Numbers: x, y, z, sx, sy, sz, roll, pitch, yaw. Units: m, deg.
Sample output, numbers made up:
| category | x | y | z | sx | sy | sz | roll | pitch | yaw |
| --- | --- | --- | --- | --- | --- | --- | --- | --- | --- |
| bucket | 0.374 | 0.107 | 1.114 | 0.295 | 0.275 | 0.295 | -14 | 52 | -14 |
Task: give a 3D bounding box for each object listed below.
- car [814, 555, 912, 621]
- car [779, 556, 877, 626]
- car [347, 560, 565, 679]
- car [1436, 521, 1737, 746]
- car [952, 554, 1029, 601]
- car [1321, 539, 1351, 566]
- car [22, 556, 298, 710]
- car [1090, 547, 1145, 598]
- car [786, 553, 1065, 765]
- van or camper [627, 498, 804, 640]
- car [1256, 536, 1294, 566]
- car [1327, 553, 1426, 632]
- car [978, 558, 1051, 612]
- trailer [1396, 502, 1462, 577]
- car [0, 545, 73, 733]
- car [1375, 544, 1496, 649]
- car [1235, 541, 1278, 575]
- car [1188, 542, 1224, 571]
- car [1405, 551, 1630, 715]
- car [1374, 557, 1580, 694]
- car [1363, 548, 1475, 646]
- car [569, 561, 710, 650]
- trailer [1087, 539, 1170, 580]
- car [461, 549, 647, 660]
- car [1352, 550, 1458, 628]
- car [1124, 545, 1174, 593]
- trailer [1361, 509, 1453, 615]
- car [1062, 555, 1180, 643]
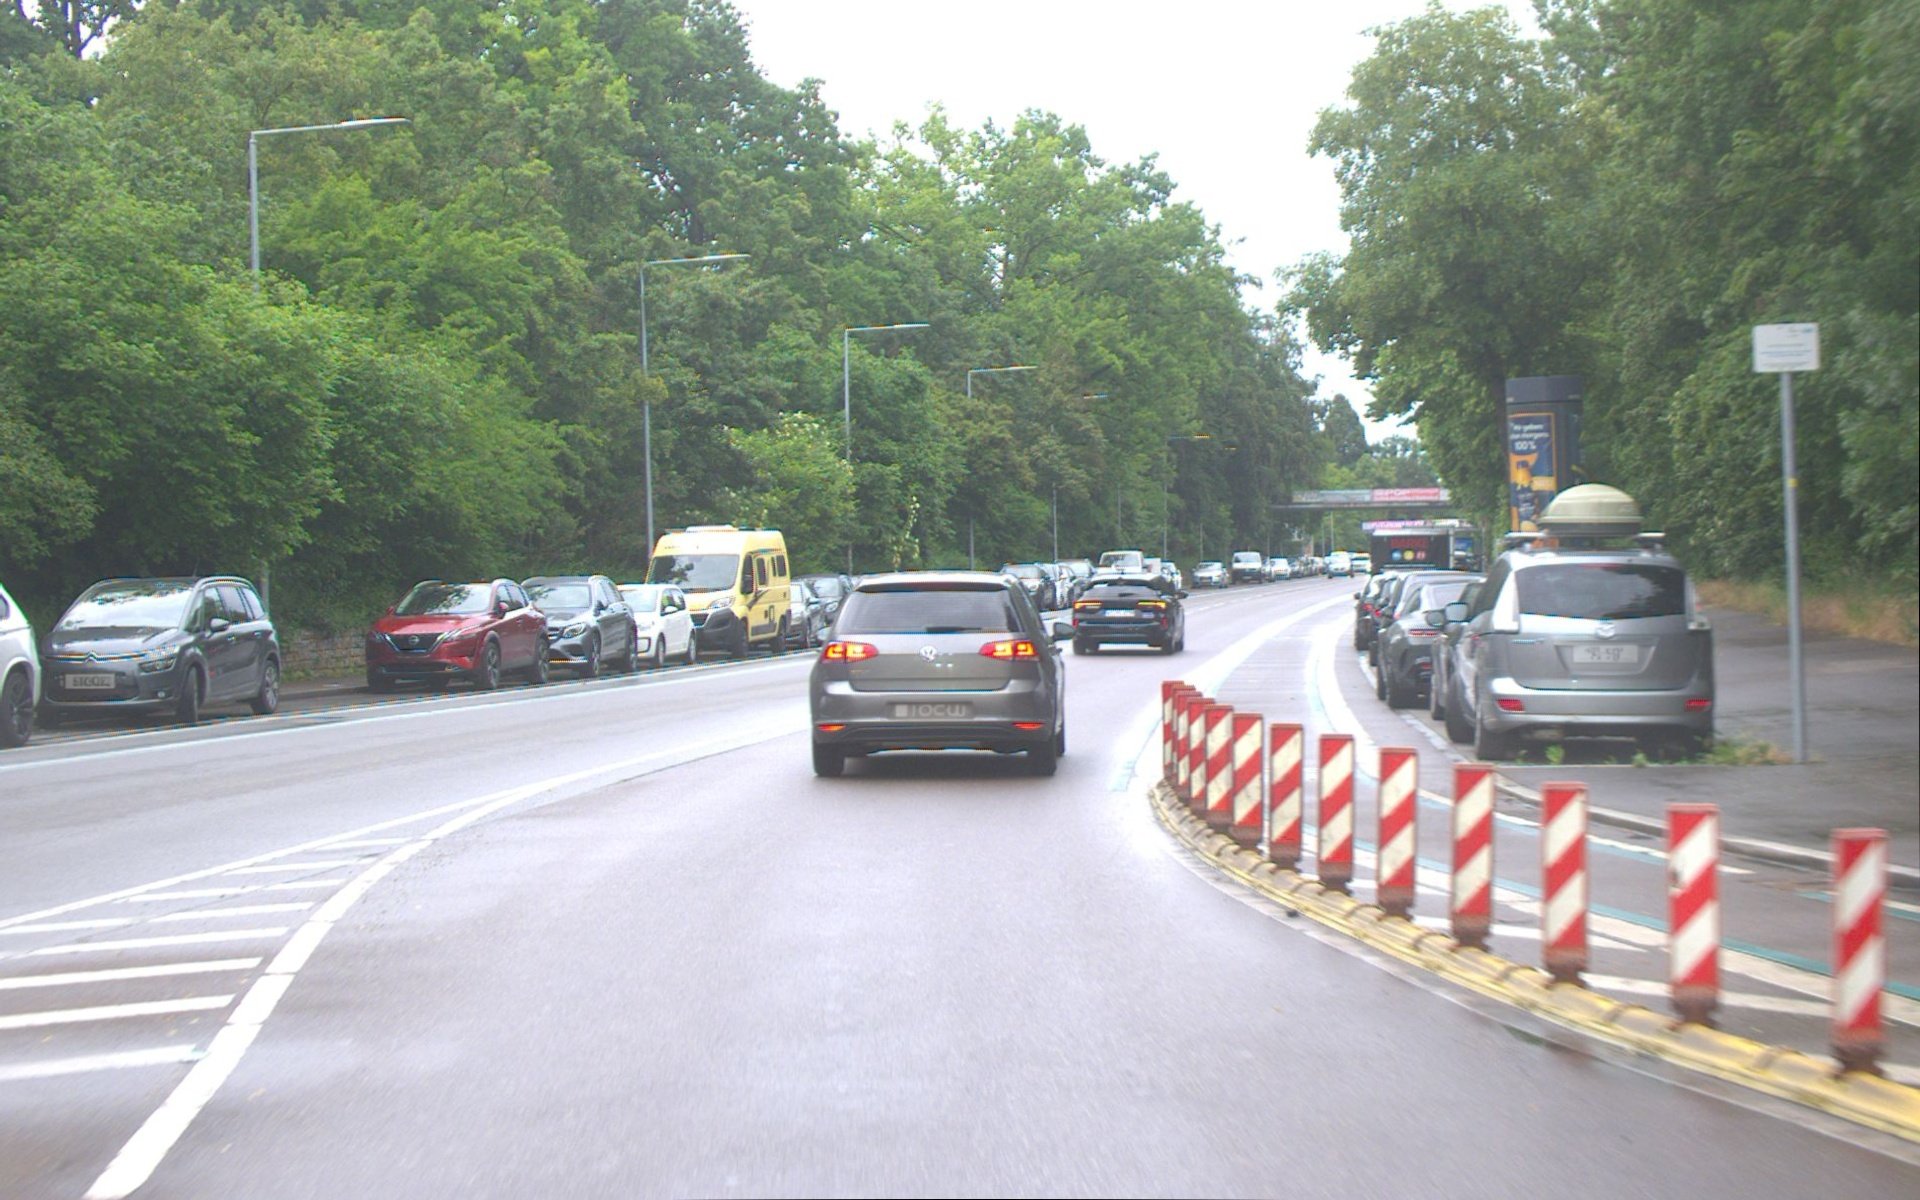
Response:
| category | x | y | z | sx | sy | sz | roll | pitch | yaw |
| --- | --- | --- | --- | --- | --- | --- | --- | --- | --- |
| car | -2.340 | -0.319 | 83.737 | 1.603 | 1.505 | 3.975 | -1 | 1 | 10 |
| car | -2.996 | -0.212 | 78.429 | 1.603 | 1.505 | 3.137 | -1 | 1 | 10 |
| car | -7.409 | 0.258 | 50.992 | 1.919 | 1.611 | 4.488 | -2 | 1 | 9 |
| car | 4.803 | 0.224 | 26.897 | 1.822 | 1.609 | 4.251 | -1 | 0 | 4 |
| car | 0.911 | -0.678 | 100.910 | 1.697 | 1.296 | 4.191 | -1 | 1 | 8 |
| car | 24.608 | -3.093 | 224.918 | 1.823 | 1.700 | 3.855 | 0 | 0 | 9 |
| car | -9.103 | 0.328 | 39.513 | 1.731 | 1.643 | 4.570 | -1 | 1 | 5 |
| car | 6.506 | -1.165 | 141.441 | 1.940 | 2.007 | 4.739 | -1 | 1 | 6 |
| car | -0.171 | 0.412 | 25.608 | 1.871 | 1.436 | 4.296 | 0 | 0 | 2 |
| van or camper | -4.723 | -0.627 | 67.369 | 2.144 | 2.618 | 5.680 | -1 | 1 | 9 |
| car | 21.508 | -3.358 | 234.556 | 2.159 | 2.007 | 5.029 | -1 | 1 | 10 |
| car | 8.330 | -0.176 | 69.030 | 1.822 | 1.480 | 4.199 | 1 | 1 | 5 |
| car | 1.691 | -0.481 | 105.743 | 1.697 | 1.578 | 4.137 | -1 | 1 | 8 |
| trailer | 16.540 | -2.132 | 121.394 | 2.132 | 2.551 | 4.296 | -1 | 1 | 6 |
| car | -10.092 | 0.386 | 31.612 | 1.994 | 1.759 | 4.959 | -1 | 0 | 8 |
| car | 6.817 | -0.068 | 49.567 | 1.560 | 1.455 | 3.675 | 0 | 1 | 5 |
| car | 18.067 | -2.569 | 209.212 | 2.159 | 2.007 | 5.029 | -1 | 1 | 10 |
| car | 13.311 | -2.378 | 185.776 | 1.673 | 1.508 | 3.629 | 0 | 1 | 8 |
| car | 5.118 | 0.268 | 31.956 | 1.697 | 1.408 | 3.703 | 1 | 1 | 4 |
| car | 5.555 | 0.243 | 37.417 | 1.853 | 1.394 | 4.385 | 0 | 1 | 4 |
| car | 7.259 | -0.075 | 54.371 | 1.659 | 1.460 | 3.899 | 1 | 1 | 8 |
| car | -5.694 | 0.076 | 61.469 | 1.618 | 1.444 | 3.656 | -2 | 1 | 9 |
| trailer | 7.175 | -1.724 | 146.235 | 1.629 | 1.623 | 3.664 | -1 | 1 | 40 |
| car | -6.627 | 0.034 | 56.609 | 1.994 | 1.694 | 4.614 | -1 | 1 | 7 |
| car | 8.269 | -0.225 | 64.141 | 1.752 | 1.389 | 4.445 | 1 | 1 | 5 |
| car | 8.354 | -1.387 | 151.749 | 1.940 | 2.007 | 4.739 | -1 | 1 | 6 |
| trailer | 9.808 | -0.853 | 75.338 | 1.906 | 2.240 | 4.766 | -1 | 1 | 8 |
| car | 2.896 | -0.046 | 61.029 | 1.881 | 1.461 | 3.999 | 1 | 1 | 5 |
